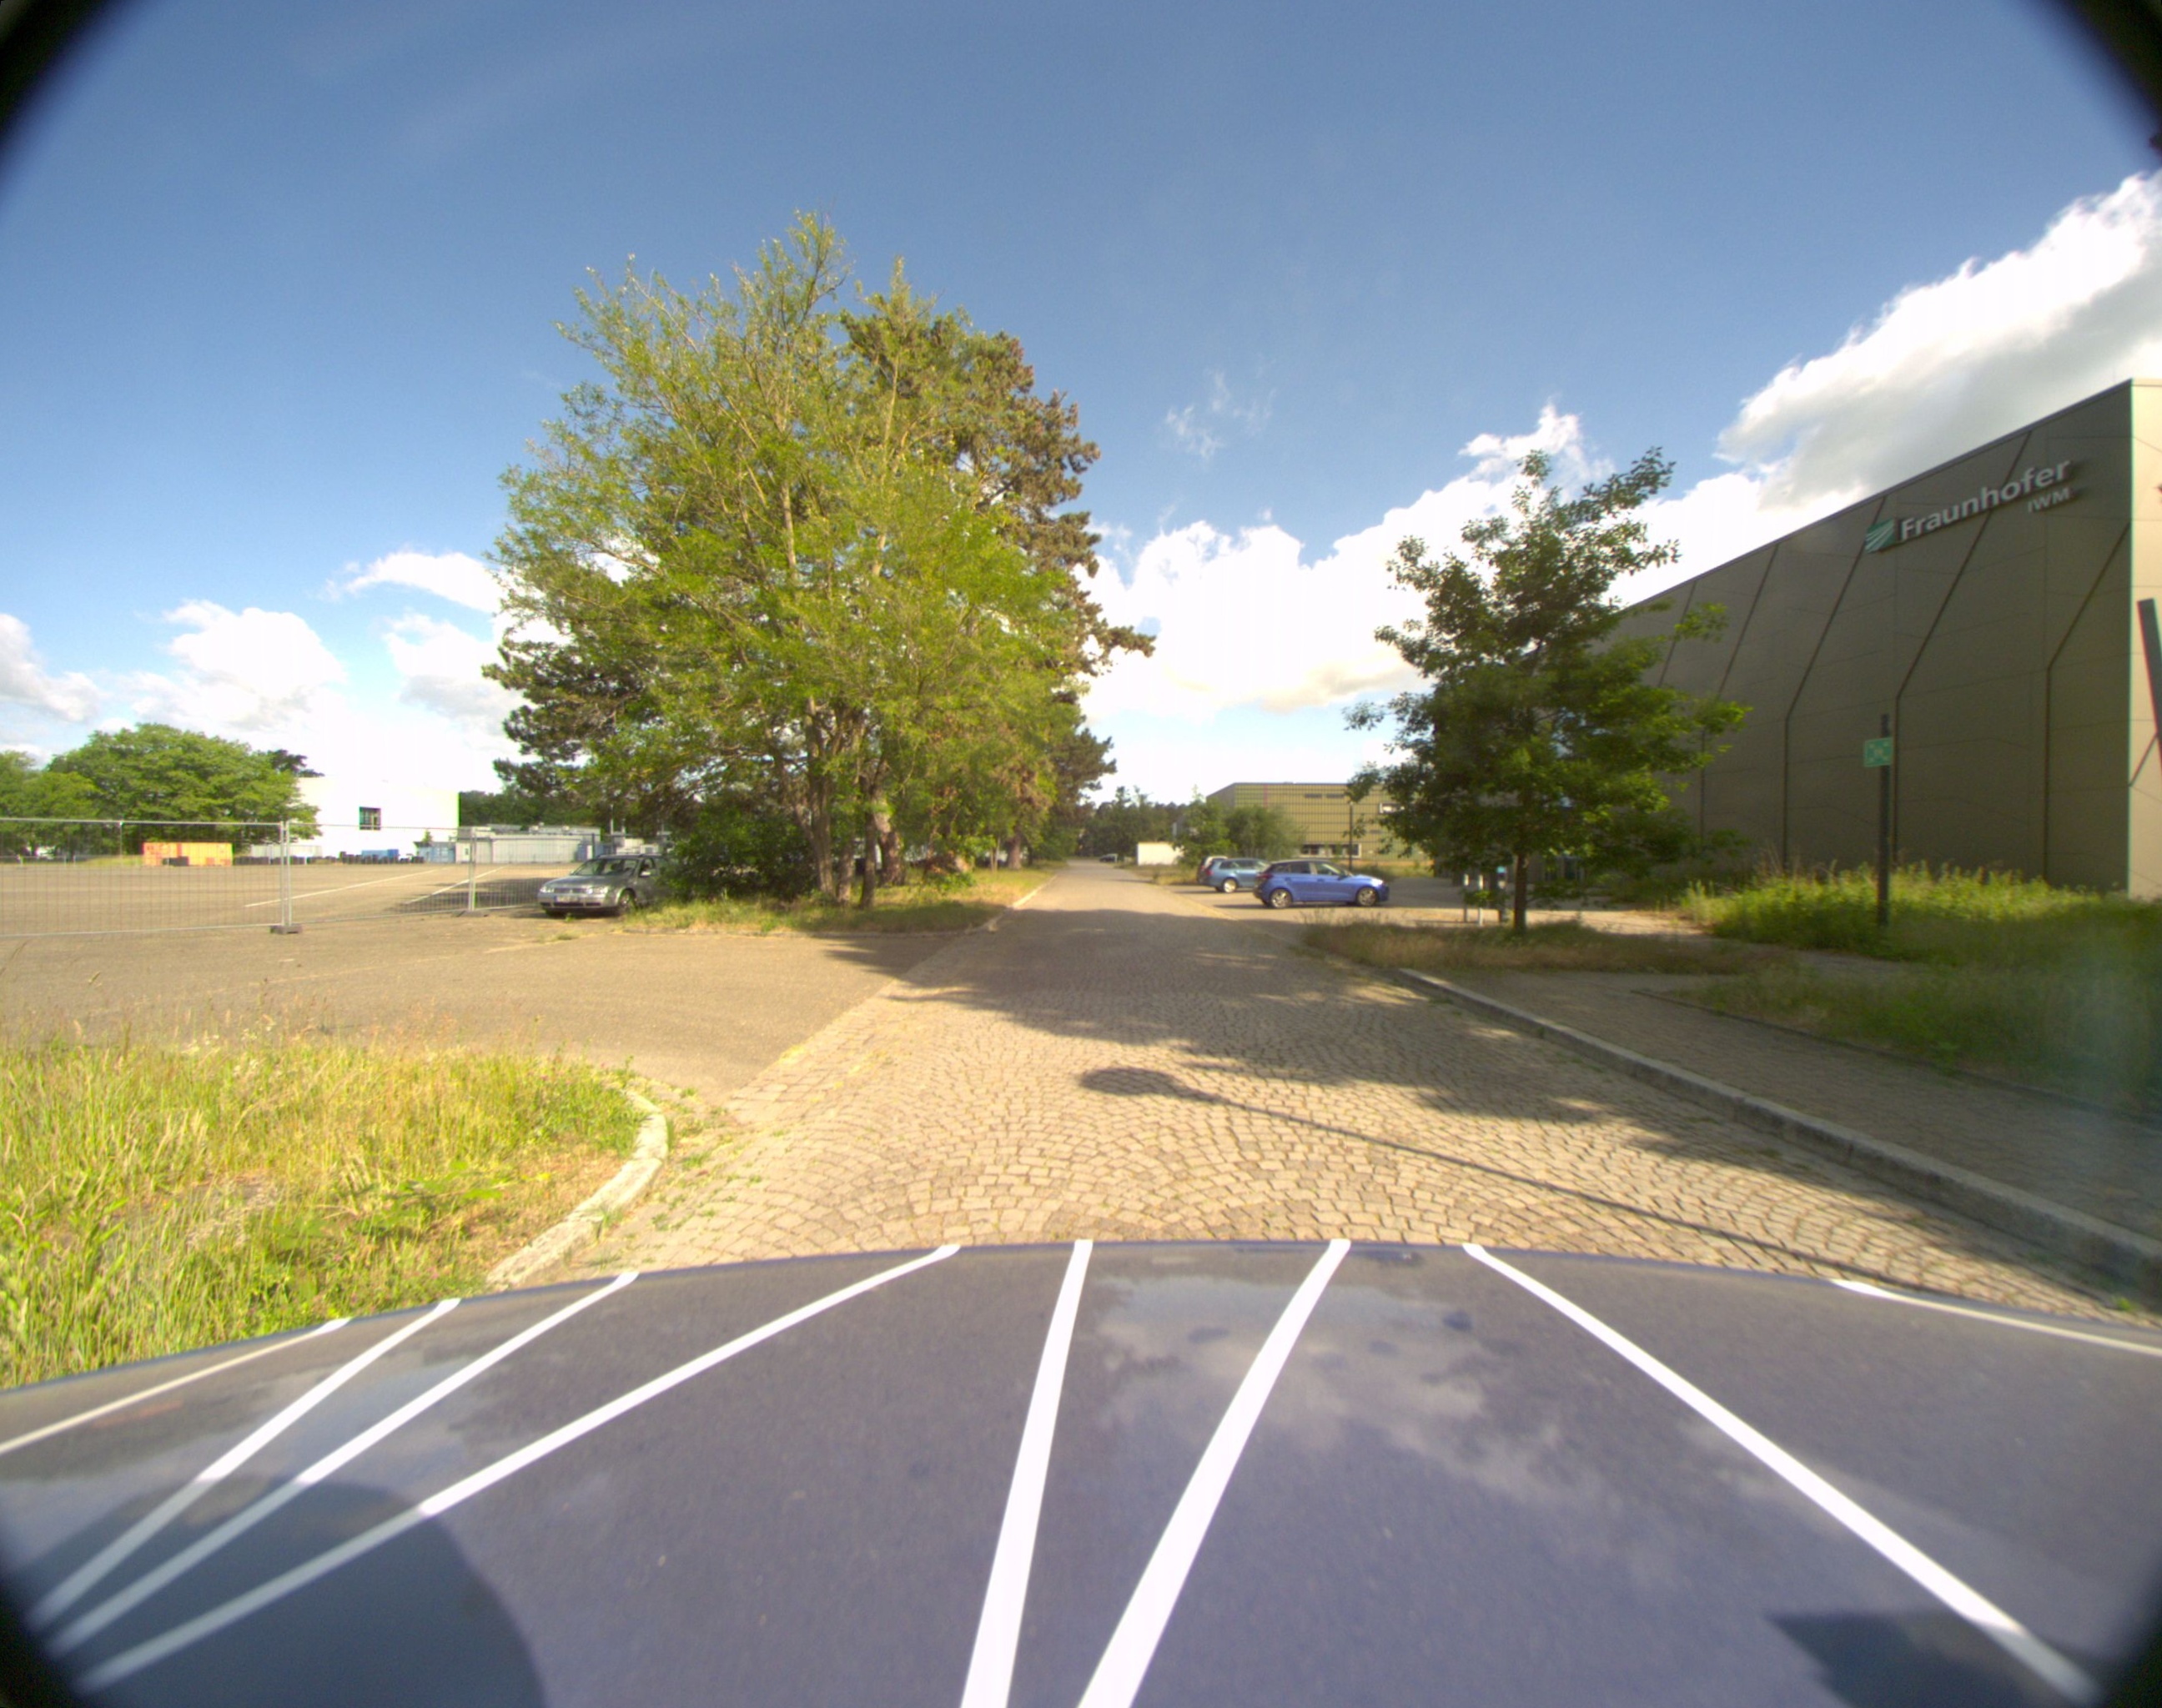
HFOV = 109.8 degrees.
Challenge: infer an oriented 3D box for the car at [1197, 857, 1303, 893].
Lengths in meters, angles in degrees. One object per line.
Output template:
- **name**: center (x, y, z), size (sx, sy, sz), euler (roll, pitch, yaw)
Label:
- **car**: center (7.293, 0.891, 33.016), size (4.180, 1.465, 1.734), euler (-1, 0, -2)

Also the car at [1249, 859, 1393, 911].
- **car**: center (7.342, 0.936, 23.501), size (3.918, 1.459, 1.735), euler (-1, 0, 3)

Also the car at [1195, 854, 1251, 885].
- **car**: center (7.528, 0.819, 40.345), size (2.652, 1.559, 1.481), euler (-1, 1, -1)

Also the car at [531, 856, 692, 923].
- **car**: center (-11.174, 0.773, 18.426), size (1.579, 1.435, 3.985), euler (0, 0, -3)
